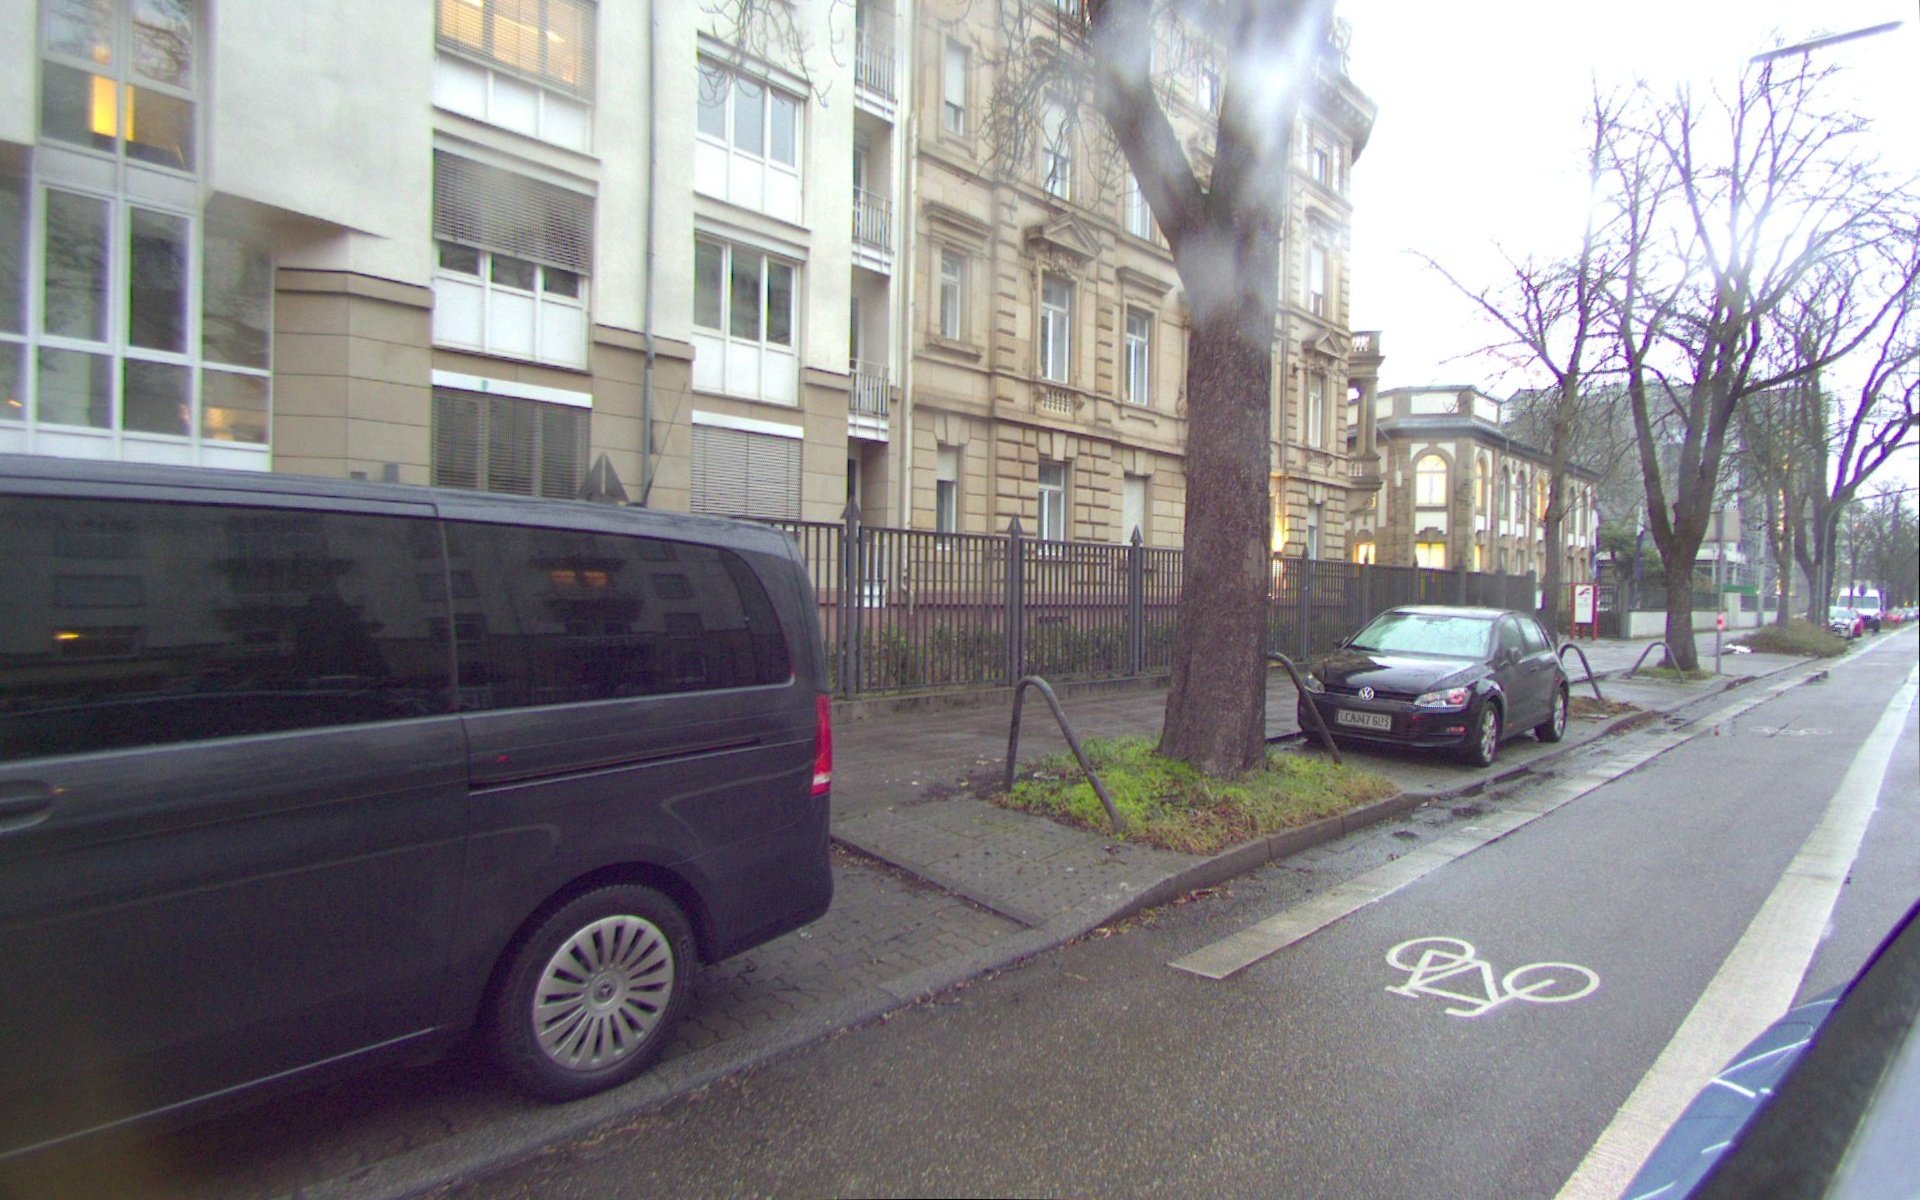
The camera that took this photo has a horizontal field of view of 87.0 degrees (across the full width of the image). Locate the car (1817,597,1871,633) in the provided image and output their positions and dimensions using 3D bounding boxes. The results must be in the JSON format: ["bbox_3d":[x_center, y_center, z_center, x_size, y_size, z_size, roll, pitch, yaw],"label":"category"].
[{"bbox_3d":[44.975,0.707,51.484,1.992,1.703,3.939,0,1,42],"label":"car"}]

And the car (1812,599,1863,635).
[{"bbox_3d":[38.197,0.702,44.036,1.623,1.425,3.939,0,1,42],"label":"car"}]

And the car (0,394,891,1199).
[{"bbox_3d":[-2.707,0.498,2.739,4.882,1.899,2.032,0,2,-45],"label":"car"}]

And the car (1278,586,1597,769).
[{"bbox_3d":[5.132,0.663,10.602,1.758,1.463,4.091,4,2,44],"label":"car"}]

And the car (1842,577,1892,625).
[{"bbox_3d":[52.131,0.019,58.196,2.086,2.670,5.367,0,1,42],"label":"car"}]
